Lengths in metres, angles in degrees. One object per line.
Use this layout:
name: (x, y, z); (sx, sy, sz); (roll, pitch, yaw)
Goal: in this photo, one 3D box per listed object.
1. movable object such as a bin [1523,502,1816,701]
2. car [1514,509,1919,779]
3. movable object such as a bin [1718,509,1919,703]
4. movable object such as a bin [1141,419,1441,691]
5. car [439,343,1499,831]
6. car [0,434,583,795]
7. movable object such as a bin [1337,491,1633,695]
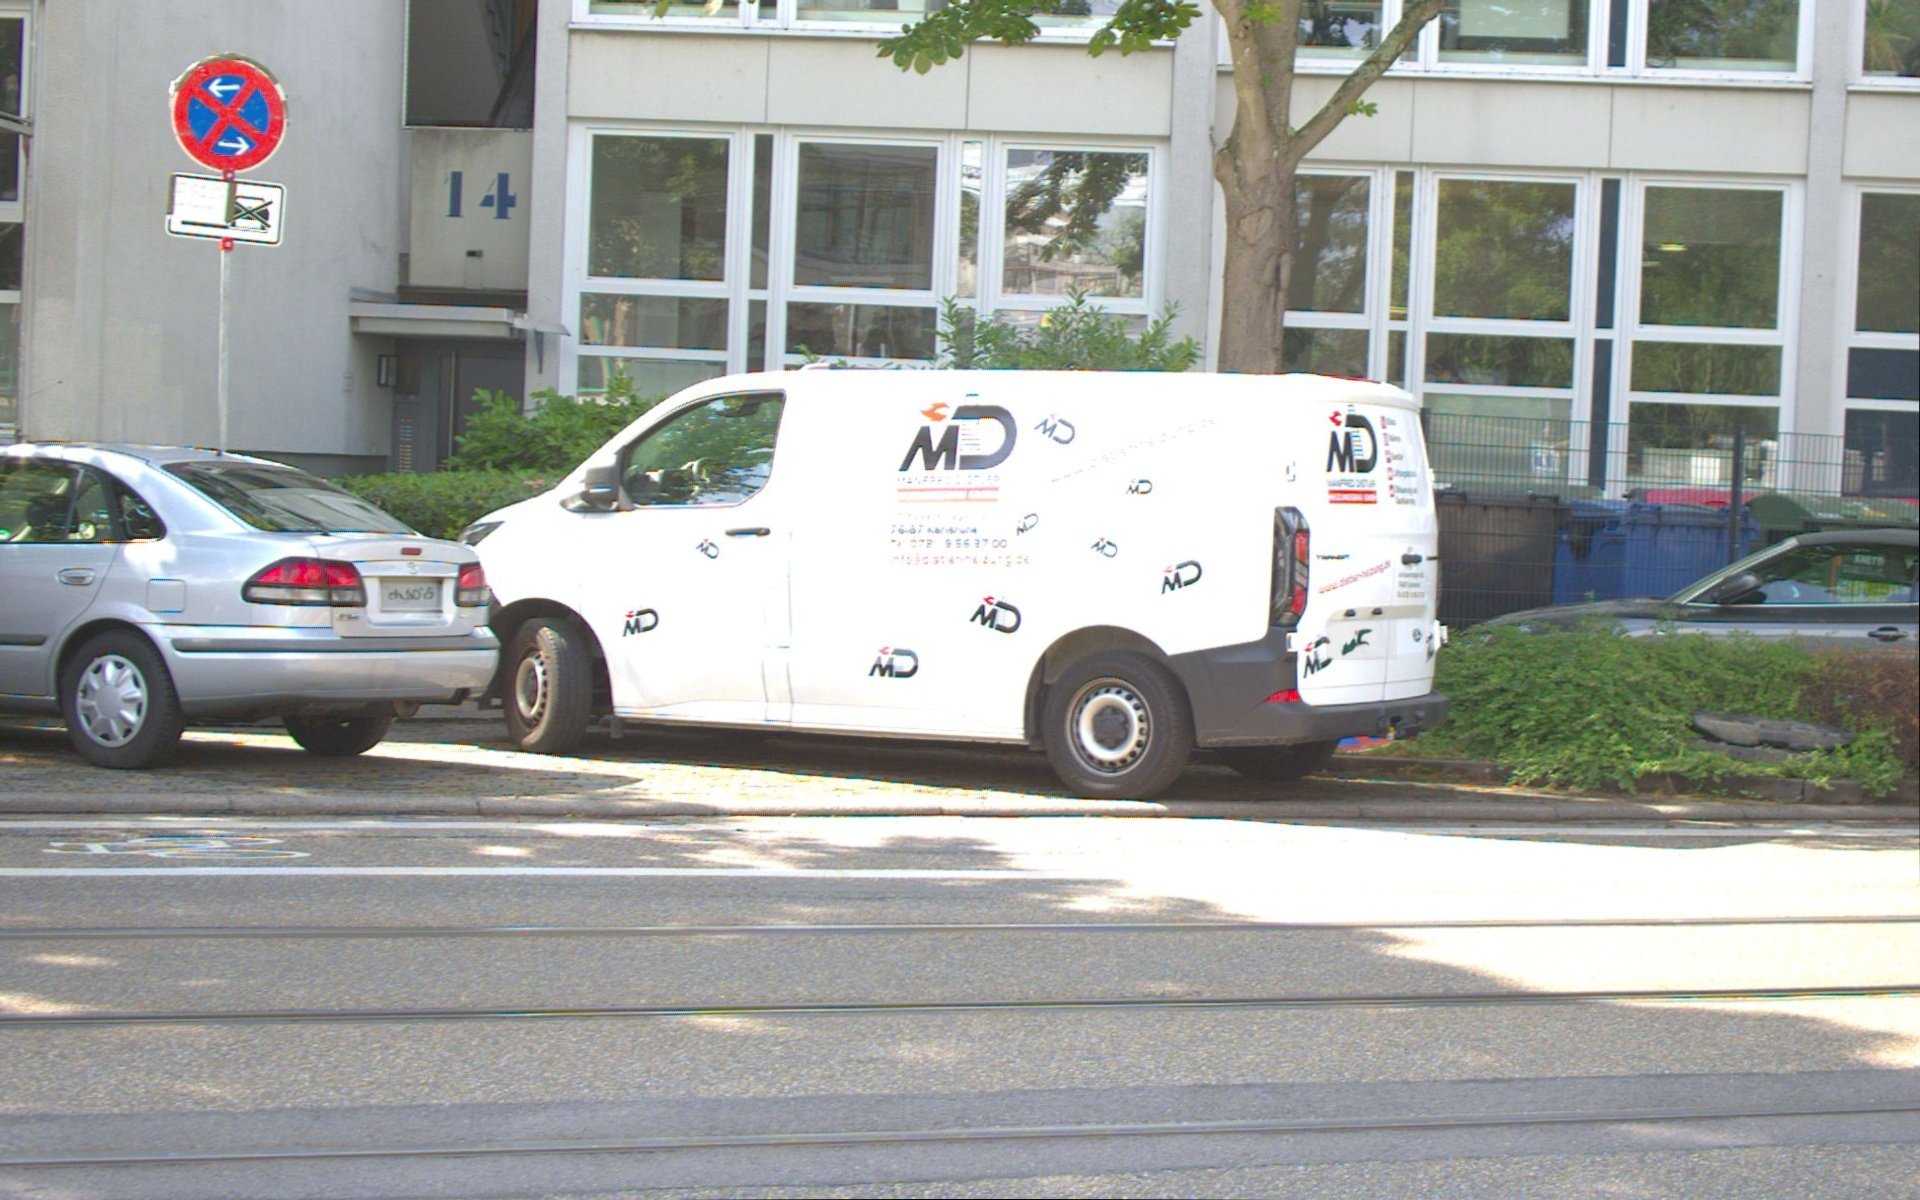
movable object such as a bin: (5.158, 0.018, 25.063); (1.533, 1.359, 1.392); (2, -1, -24)
car: (5.291, 0.263, 19.470); (3.991, 1.413, 1.721); (2, 0, 19)
movable object such as a bin: (6.618, 0.054, 25.596); (1.436, 1.376, 1.197); (2, -1, -23)
movable object such as a bin: (2.281, -0.292, 23.835); (1.533, 1.775, 1.392); (2, -1, -24)
car: (0.000, -0.151, 16.600); (4.678, 1.990, 1.966); (4, 2, 28)
car: (-4.032, -0.035, 16.088); (4.164, 1.444, 1.819); (3, 2, 28)
movable object such as a bin: (3.720, -0.042, 24.434); (1.533, 1.359, 1.392); (2, -1, -24)
